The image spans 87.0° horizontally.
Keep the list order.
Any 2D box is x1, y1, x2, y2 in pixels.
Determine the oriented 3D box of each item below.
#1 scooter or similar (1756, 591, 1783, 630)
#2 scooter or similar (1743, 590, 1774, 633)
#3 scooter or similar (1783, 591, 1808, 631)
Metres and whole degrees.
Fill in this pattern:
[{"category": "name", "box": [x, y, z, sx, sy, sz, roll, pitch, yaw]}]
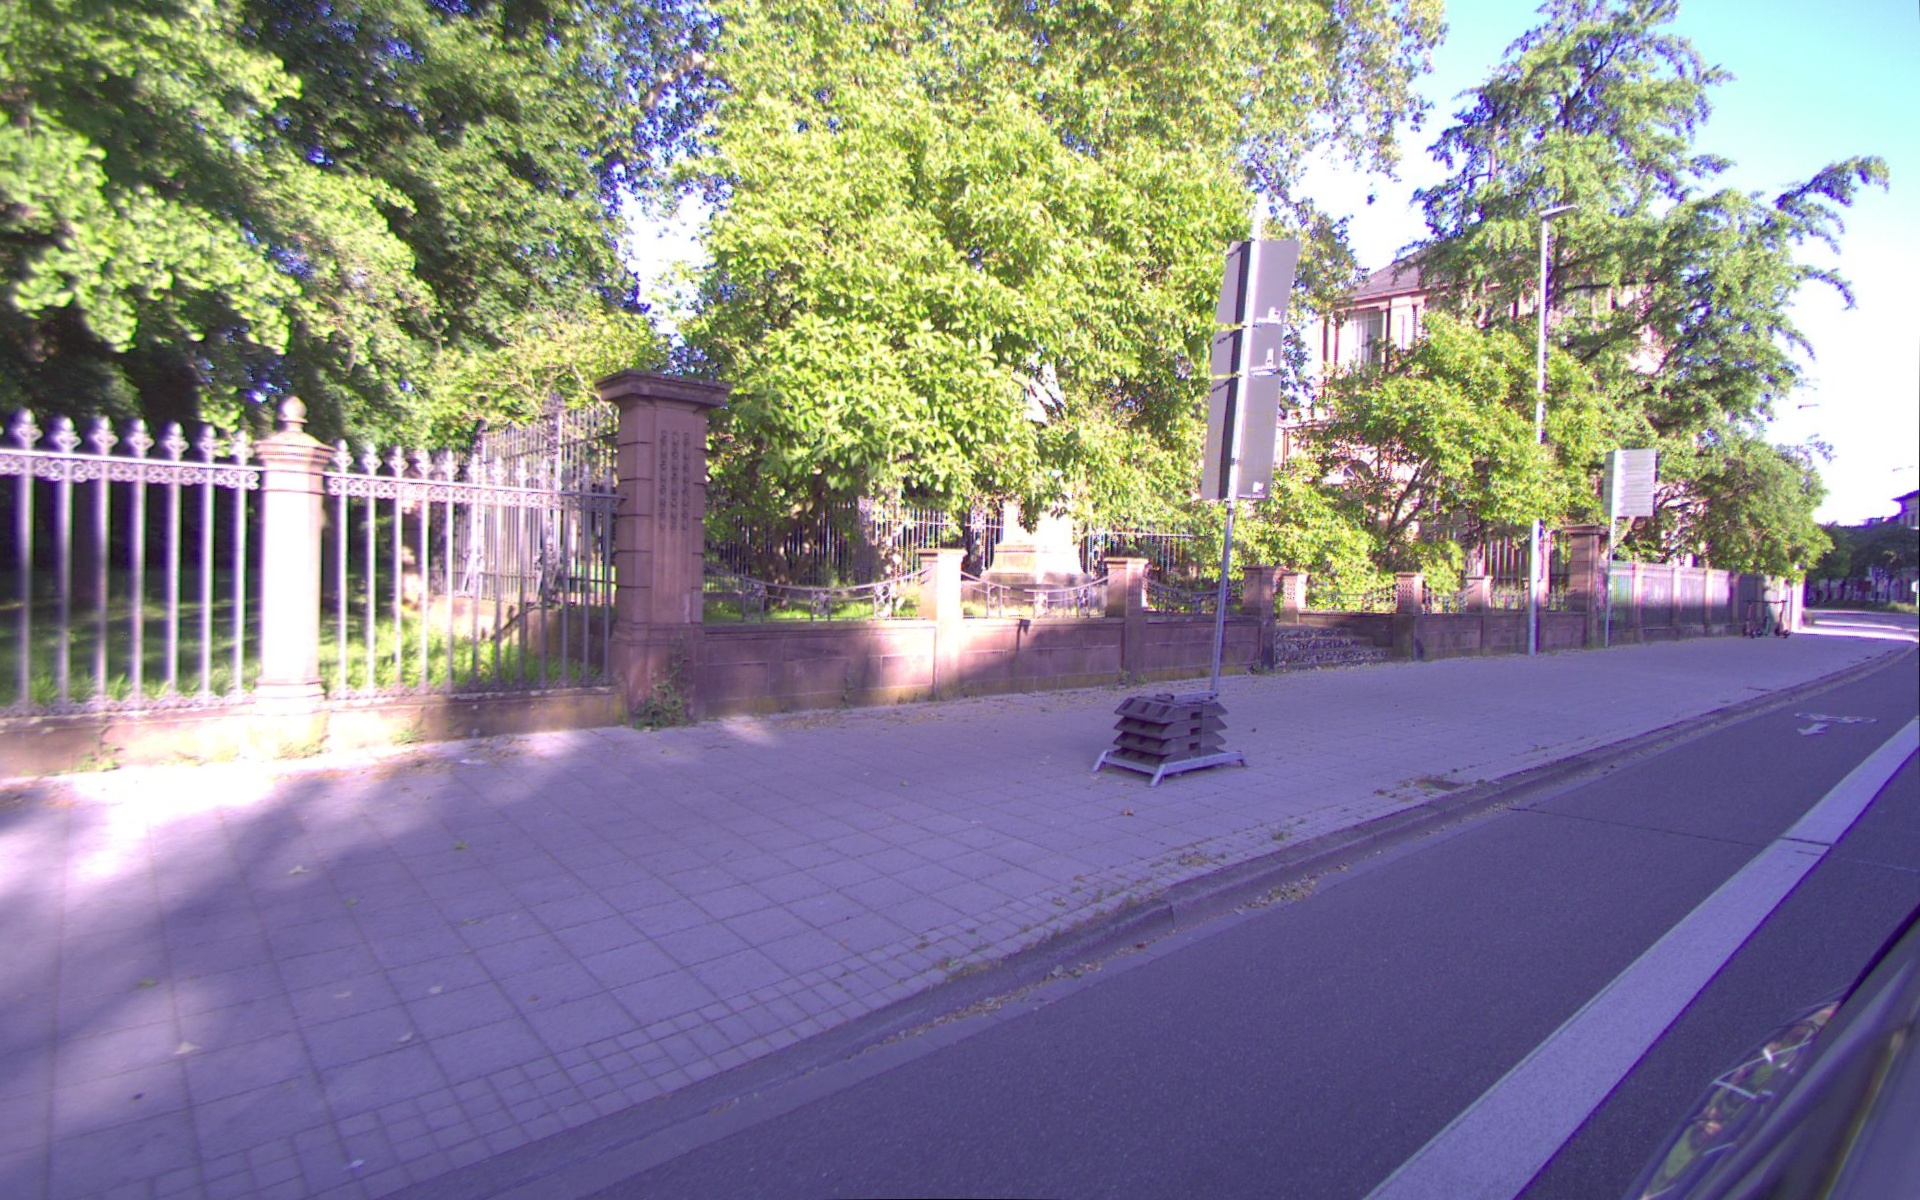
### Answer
[{"category": "scooter or similar", "box": [26.105, 0.333, 32.627, 0.574, 1.199, 1.466, 3, 2, 41]}, {"category": "scooter or similar", "box": [24.758, 0.329, 31.401, 0.572, 1.269, 1.470, 2, 2, 33]}, {"category": "scooter or similar", "box": [27.204, 0.339, 32.977, 0.514, 1.255, 1.502, 3, 2, 37]}]
